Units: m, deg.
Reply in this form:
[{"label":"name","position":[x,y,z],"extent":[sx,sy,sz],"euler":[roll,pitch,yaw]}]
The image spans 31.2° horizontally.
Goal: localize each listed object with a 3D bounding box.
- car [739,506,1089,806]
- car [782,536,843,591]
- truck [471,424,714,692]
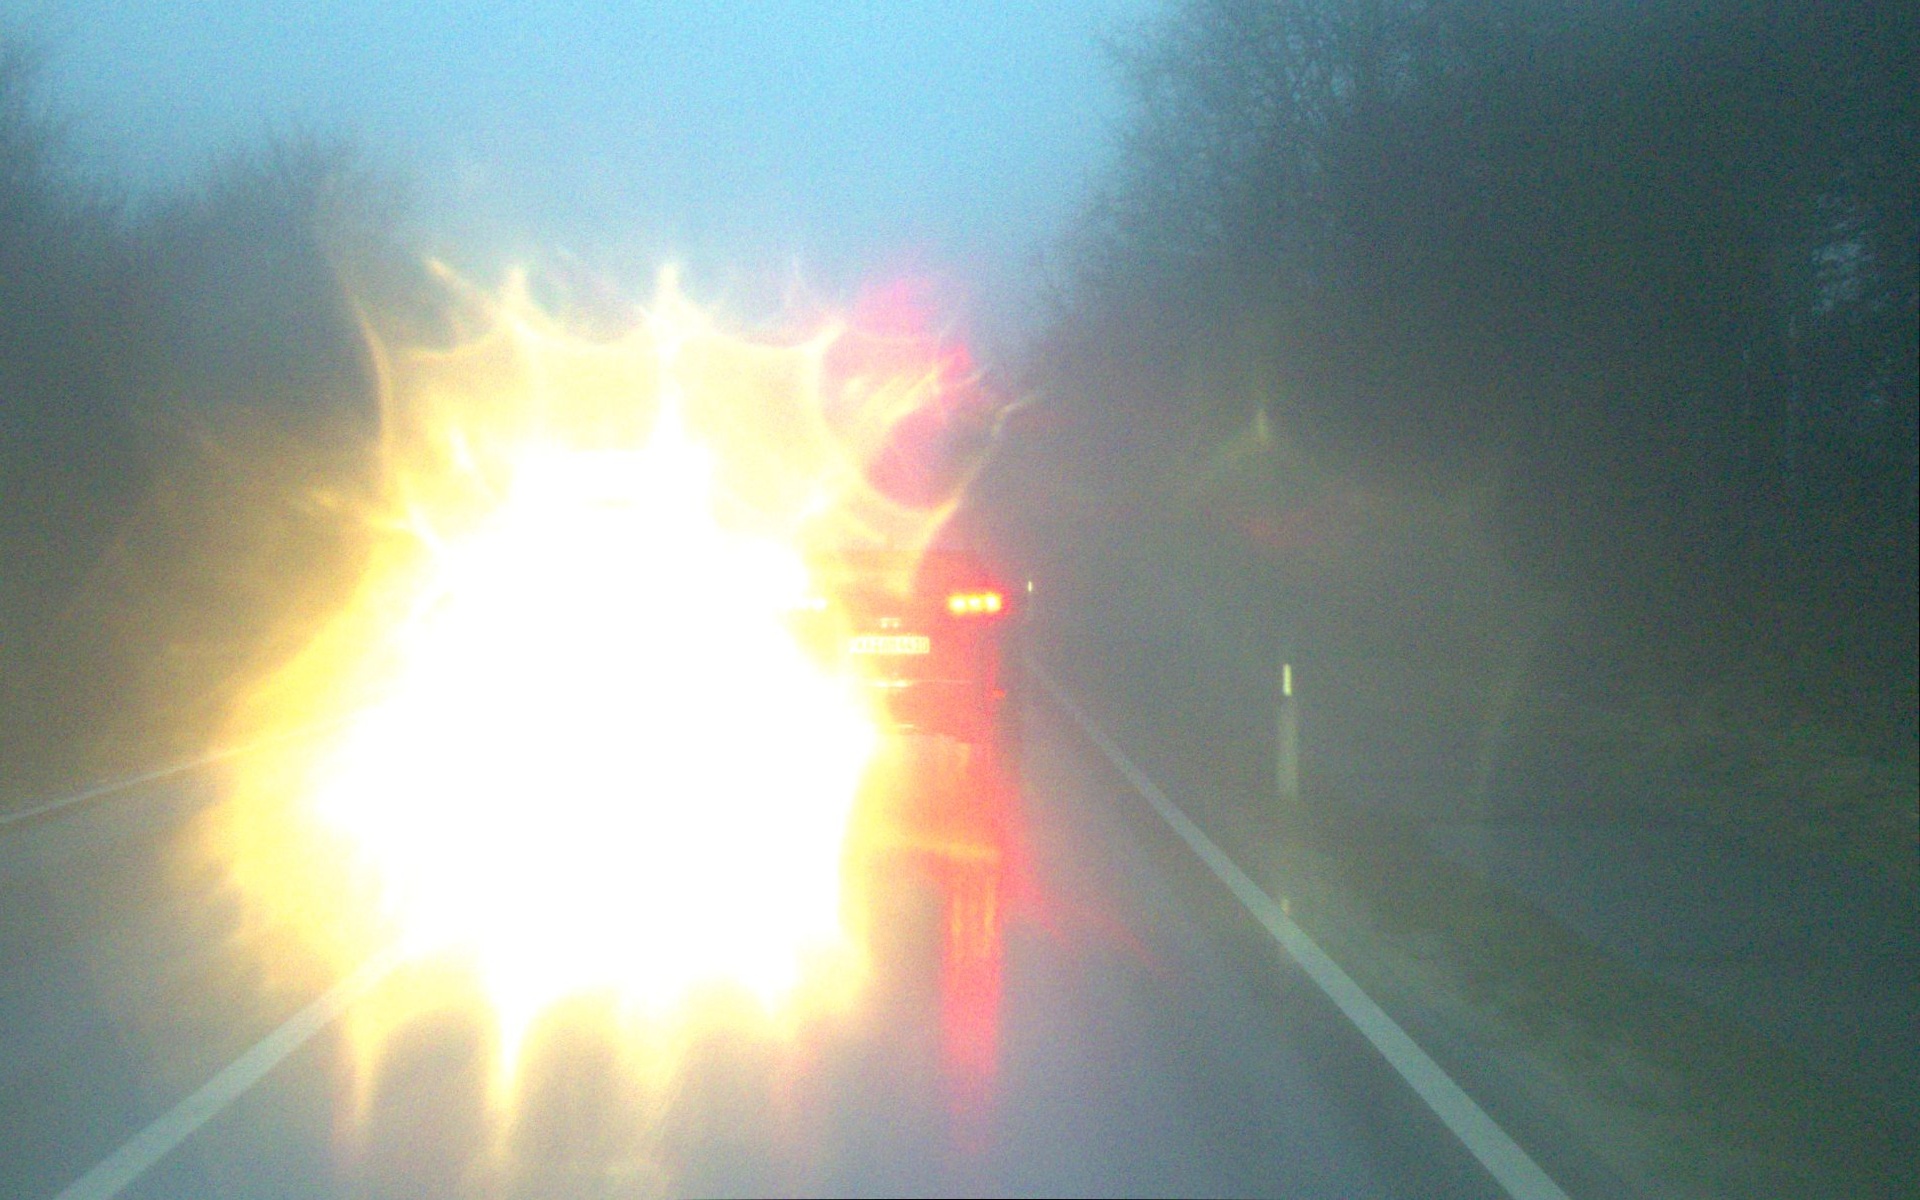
[{"label":"car","position":[-0.335,0.328,24.273],"extent":[2.198,1.871,4.827],"euler":[1,1,-1]},{"label":"car","position":[-4.520,-1.150,105.967],"extent":[1.694,1.555,4.129],"euler":[1,2,0]},{"label":"truck","position":[-4.080,-0.486,39.340],"extent":[2.103,2.762,6.872],"euler":[1,1,-1]}]
